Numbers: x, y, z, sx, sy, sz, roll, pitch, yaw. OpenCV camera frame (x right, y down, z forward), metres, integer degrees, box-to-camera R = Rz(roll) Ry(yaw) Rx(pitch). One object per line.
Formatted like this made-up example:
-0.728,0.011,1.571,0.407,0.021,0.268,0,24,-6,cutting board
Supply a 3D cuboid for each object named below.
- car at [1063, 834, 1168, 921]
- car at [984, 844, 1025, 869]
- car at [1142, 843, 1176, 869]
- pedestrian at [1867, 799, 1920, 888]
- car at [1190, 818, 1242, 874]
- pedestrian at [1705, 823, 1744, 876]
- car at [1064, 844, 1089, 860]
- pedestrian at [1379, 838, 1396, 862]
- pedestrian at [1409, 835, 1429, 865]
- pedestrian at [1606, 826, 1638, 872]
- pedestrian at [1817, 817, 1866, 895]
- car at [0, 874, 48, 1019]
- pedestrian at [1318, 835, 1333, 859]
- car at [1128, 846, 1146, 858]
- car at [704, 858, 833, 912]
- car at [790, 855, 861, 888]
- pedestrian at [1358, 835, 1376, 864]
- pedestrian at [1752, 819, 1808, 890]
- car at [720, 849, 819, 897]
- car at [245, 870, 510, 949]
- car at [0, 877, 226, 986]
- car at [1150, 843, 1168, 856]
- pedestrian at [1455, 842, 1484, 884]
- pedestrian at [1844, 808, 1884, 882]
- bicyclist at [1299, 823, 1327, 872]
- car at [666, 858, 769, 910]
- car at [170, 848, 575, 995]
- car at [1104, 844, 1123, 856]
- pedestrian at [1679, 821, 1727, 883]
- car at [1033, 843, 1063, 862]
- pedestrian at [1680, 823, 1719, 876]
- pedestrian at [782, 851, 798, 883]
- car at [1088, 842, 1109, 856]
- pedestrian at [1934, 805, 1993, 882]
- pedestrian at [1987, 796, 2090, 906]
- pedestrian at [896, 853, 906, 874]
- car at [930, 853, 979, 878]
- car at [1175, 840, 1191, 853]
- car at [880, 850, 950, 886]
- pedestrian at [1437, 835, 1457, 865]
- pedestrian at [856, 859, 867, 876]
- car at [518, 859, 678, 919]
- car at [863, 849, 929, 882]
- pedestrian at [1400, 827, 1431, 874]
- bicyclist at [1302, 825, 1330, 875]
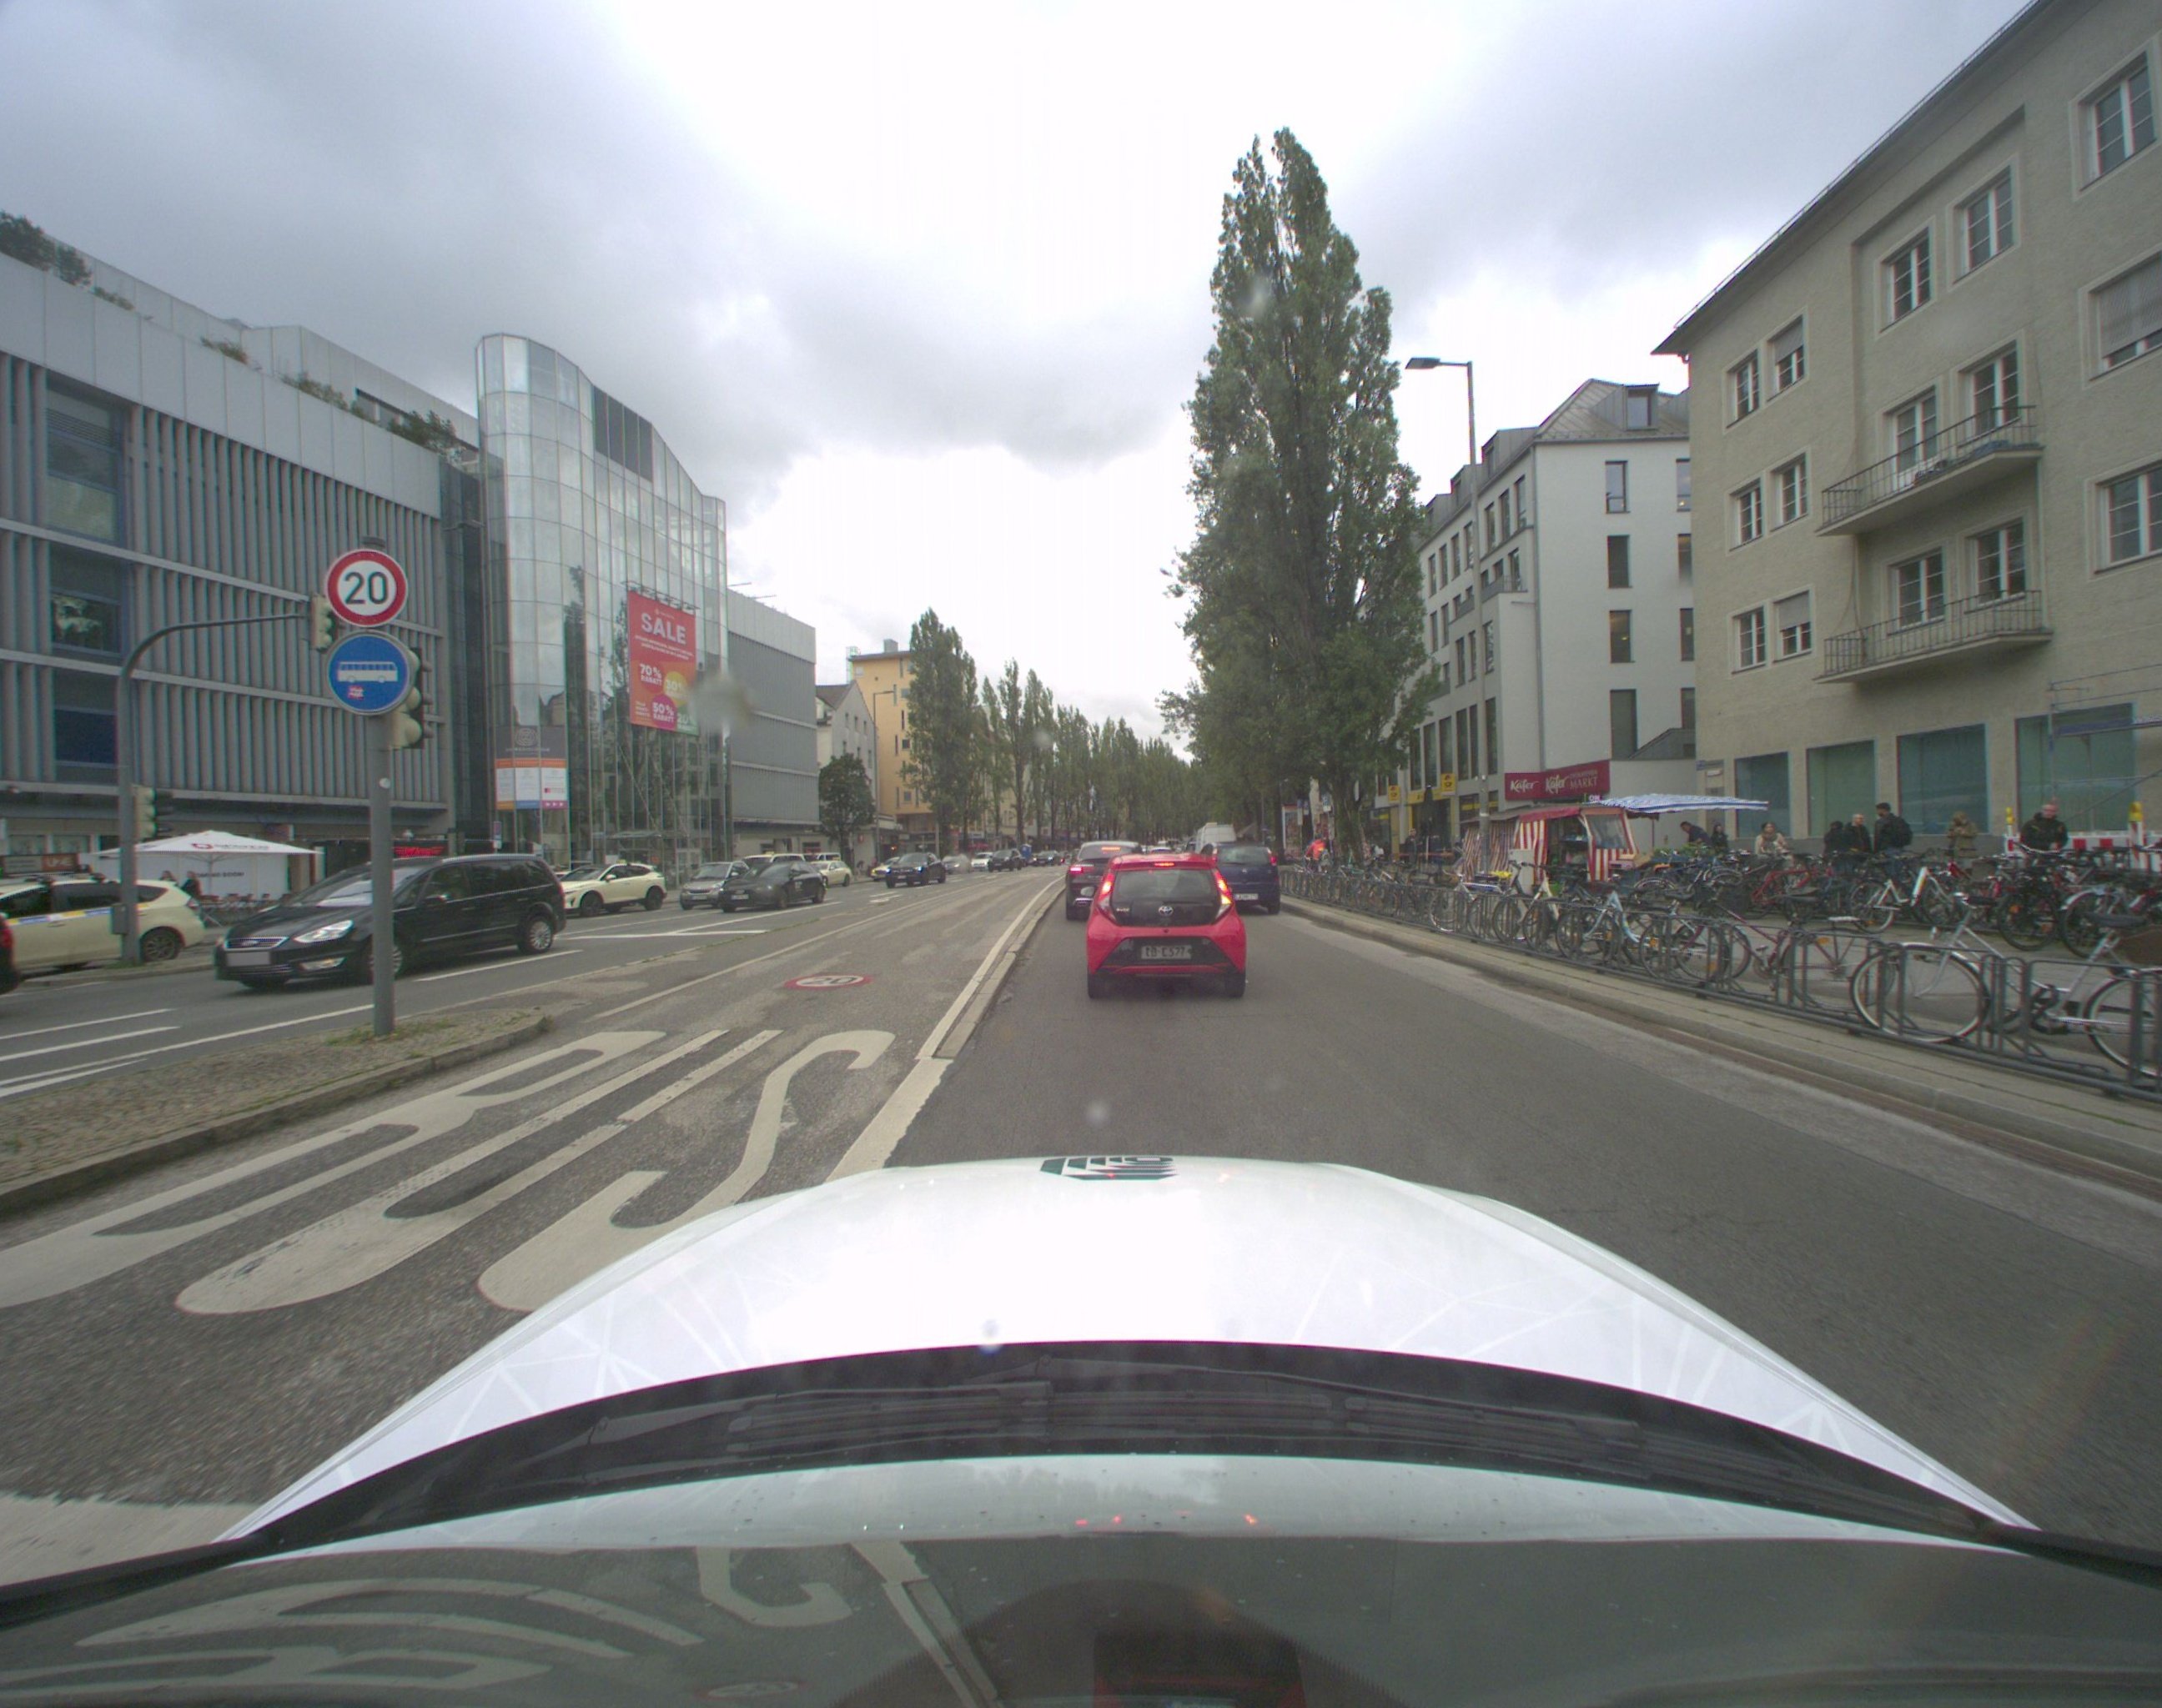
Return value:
0.703,0.433,17.777,1.986,1.618,4.001,-2,1,1,car
-5.625,0.157,60.671,1.983,1.691,4.931,-1,0,7,car
4.606,0.095,48.172,1.694,1.426,3.498,-2,1,1,car
15.710,-0.198,15.761,0.594,1.669,0.690,-2,0,37,pedestrian
7.086,-0.408,43.255,2.098,2.718,4.807,-2,0,2,car
17.491,-0.128,22.145,0.572,1.402,0.580,-2,0,1,pedestrian
-0.481,-0.207,90.724,1.982,1.691,4.933,-1,0,8,car
16.634,-0.228,44.152,0.636,1.306,0.676,-2,0,1,pedestrian
17.750,-0.210,42.766,0.710,1.558,0.676,-2,0,1,pedestrian
16.949,-0.151,25.511,0.596,1.402,0.580,-2,0,1,pedestrian
15.069,0.037,16.149,0.573,1.505,0.620,-2,0,33,pedestrian
-13.126,1.092,7.421,1.832,1.613,4.260,-2,1,2,car
16.182,-0.477,53.970,0.761,1.593,0.676,-2,0,1,pedestrian
8.411,-0.376,122.038,1.979,1.691,4.431,-2,0,14,car
-9.399,0.873,24.974,1.836,1.382,4.606,-2,1,4,car
-13.667,0.873,43.847,1.984,1.655,4.540,0,0,6,car
16.015,-0.248,45.636,0.710,1.558,0.676,-2,0,1,pedestrian
15.338,0.009,17.889,0.801,1.522,0.805,-2,0,34,pedestrian
-14.485,0.812,38.278,1.984,2.013,5.532,-2,1,6,car
-16.935,1.264,20.003,1.981,1.508,4.649,-2,0,11,car
-17.390,1.260,13.385,1.893,1.543,4.395,-2,1,2,car
8.883,-0.534,92.235,1.763,1.439,3.948,-2,1,8,car
14.968,0.337,31.384,0.730,1.602,0.742,-2,0,1,pedestrian
16.059,-0.176,16.712,0.501,1.484,0.468,-2,0,37,pedestrian
9.071,-0.253,31.850,0.759,1.869,1.133,-2,0,2,bicyclist
-12.086,0.955,27.338,1.616,1.552,3.390,-2,1,6,car
-10.184,0.820,12.356,1.929,1.738,4.591,-2,1,2,car
4.973,-0.672,124.142,1.979,1.691,4.431,-2,0,14,car
14.802,-0.044,19.398,0.612,1.425,0.660,-2,0,6,pedestrian
-3.090,-0.155,77.219,1.982,1.691,4.933,-2,1,8,car
16.844,-0.130,22.181,0.596,1.402,0.580,-2,0,1,pedestrian
-16.713,0.740,46.762,0.553,1.817,0.630,-2,0,12,pedestrian
2.162,-0.652,101.060,1.982,1.691,4.933,-1,0,8,car
19.564,-0.233,18.064,0.638,1.644,0.563,-2,0,1,pedestrian
15.803,-0.050,13.460,0.739,1.727,0.758,-3,0,1,pedestrian
-17.582,0.931,79.507,0.685,1.997,0.766,-2,0,2,pedestrian
-9.206,0.797,59.731,1.980,1.609,4.548,-2,1,12,car
15.992,-1.193,127.699,1.980,1.837,4.014,-2,1,12,car
-7.887,0.624,39.169,1.983,1.534,4.595,-2,0,6,car
18.876,-0.208,42.009,0.710,1.558,0.676,-2,0,1,pedestrian
-17.069,1.024,63.440,0.553,1.290,0.630,-2,0,12,pedestrian
-15.327,1.056,26.140,1.979,1.679,4.199,-1,0,14,car
-11.702,0.680,51.735,1.978,1.816,4.553,-3,1,17,car
12.624,-0.135,30.747,0.787,1.727,0.764,-2,0,1,pedestrian
8.127,-0.143,28.186,0.611,1.657,1.252,-2,0,2,bicyclist
